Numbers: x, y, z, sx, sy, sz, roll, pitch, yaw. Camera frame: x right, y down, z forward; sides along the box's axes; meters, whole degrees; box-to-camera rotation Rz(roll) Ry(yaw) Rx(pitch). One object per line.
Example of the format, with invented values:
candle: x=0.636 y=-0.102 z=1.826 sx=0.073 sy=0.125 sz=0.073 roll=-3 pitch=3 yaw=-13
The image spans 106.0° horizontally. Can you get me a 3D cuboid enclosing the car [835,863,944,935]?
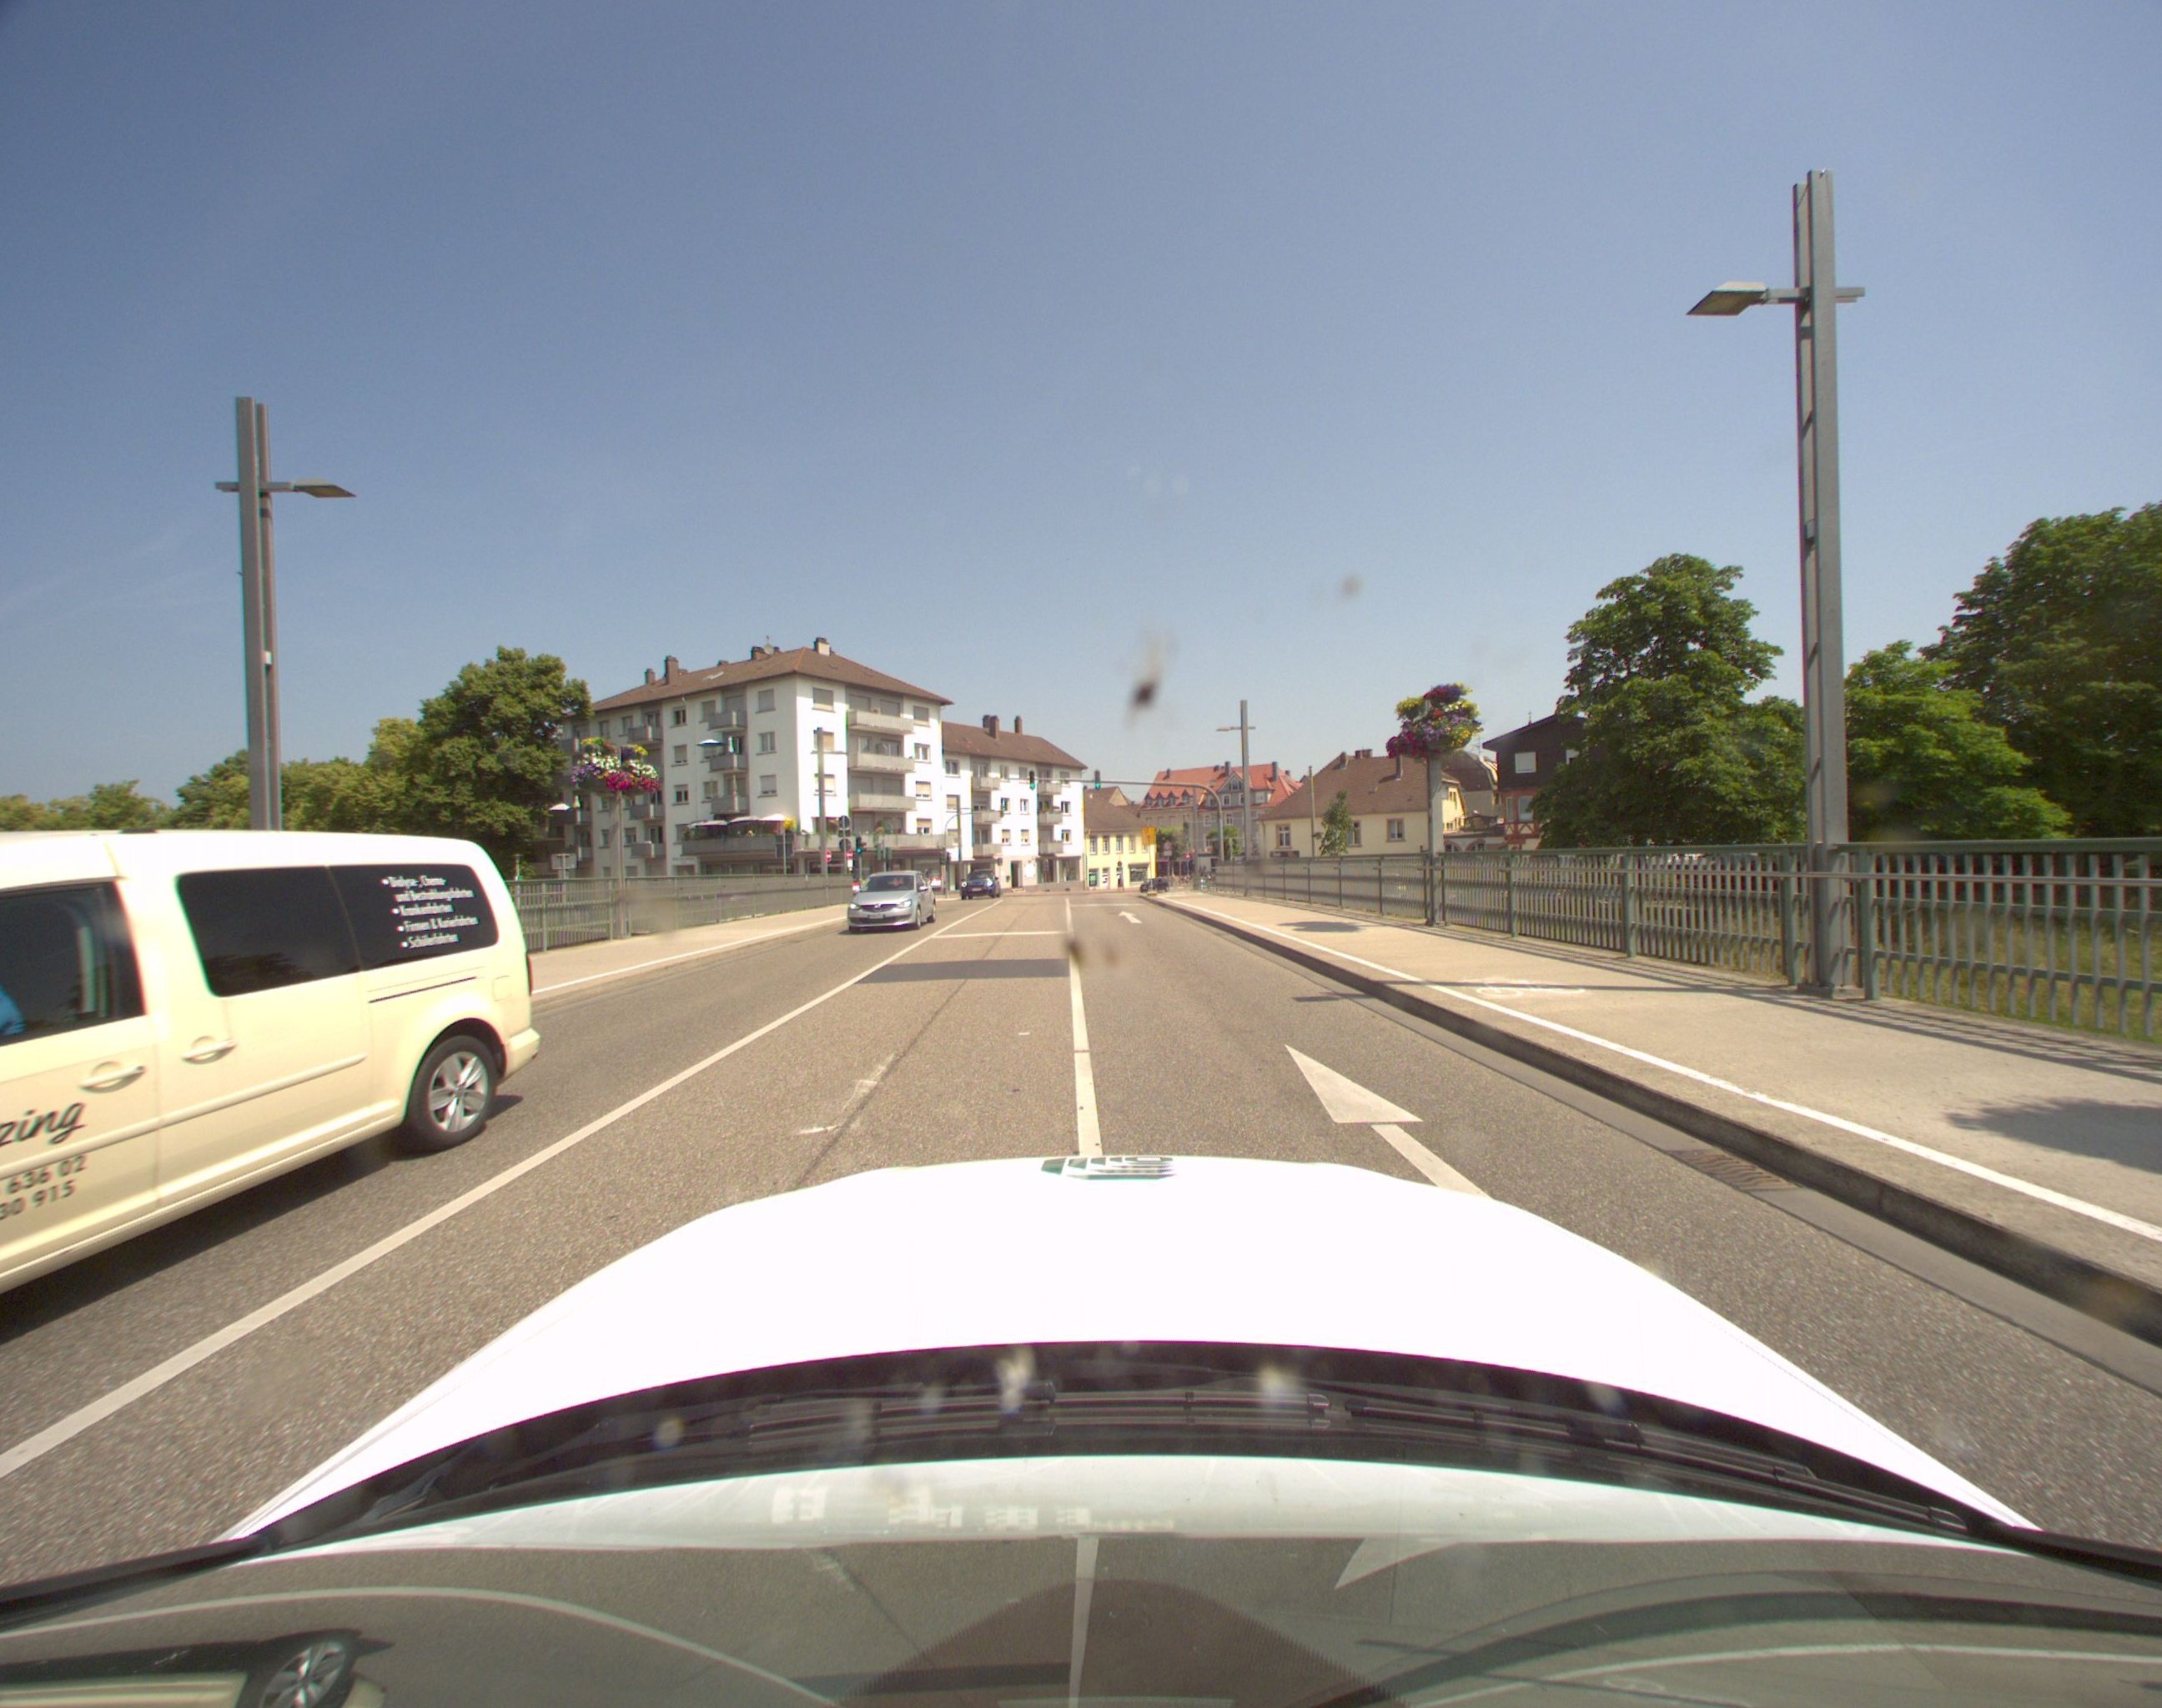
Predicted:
car: x=-4.747 y=1.053 z=20.734 sx=1.755 sy=1.519 sz=3.999 roll=-3 pitch=0 yaw=0

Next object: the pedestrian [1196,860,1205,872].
pedestrian: x=19.385 y=1.921 z=131.998 sx=1.020 sy=1.980 sz=1.027 roll=-1 pitch=0 yaw=34

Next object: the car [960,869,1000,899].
car: x=-5.116 y=1.513 z=41.693 sx=1.652 sy=1.440 sz=3.753 roll=-1 pitch=-1 yaw=-1

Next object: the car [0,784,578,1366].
car: x=-4.367 y=0.750 z=3.259 sx=1.754 sy=1.857 sz=4.645 roll=-3 pitch=0 yaw=-1

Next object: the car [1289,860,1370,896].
car: x=19.355 y=1.855 z=63.529 sx=5.560 sy=2.628 sz=2.256 roll=-1 pitch=-1 yaw=33

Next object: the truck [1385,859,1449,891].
truck: x=24.645 y=1.520 z=59.718 sx=4.017 sy=2.215 sz=1.825 roll=-1 pitch=0 yaw=34

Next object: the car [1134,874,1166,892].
car: x=6.872 y=2.878 z=81.037 sx=1.660 sy=1.488 sz=3.979 roll=-4 pitch=-2 yaw=28

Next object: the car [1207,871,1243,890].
car: x=14.393 y=2.628 z=81.227 sx=1.971 sy=1.612 sz=4.370 roll=-2 pitch=1 yaw=31
